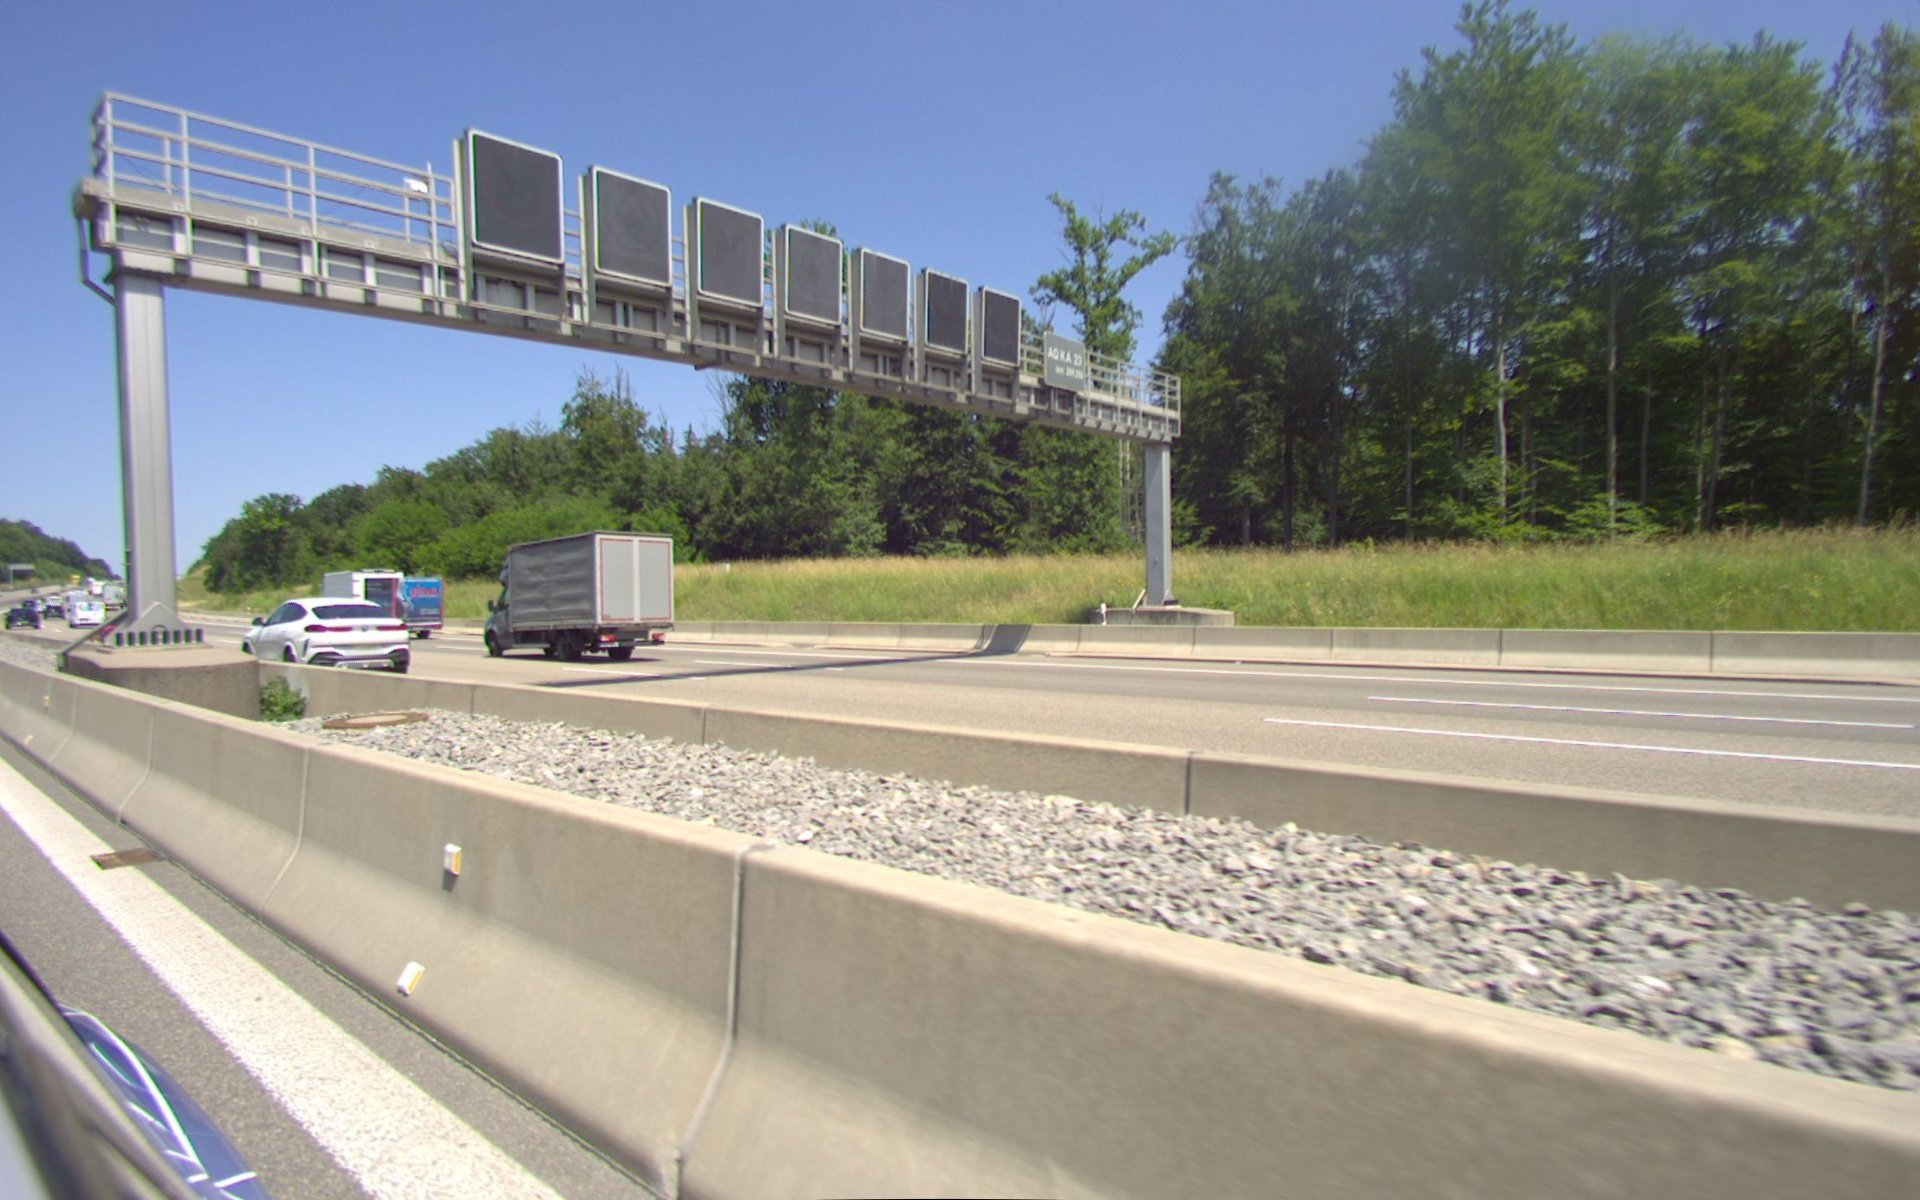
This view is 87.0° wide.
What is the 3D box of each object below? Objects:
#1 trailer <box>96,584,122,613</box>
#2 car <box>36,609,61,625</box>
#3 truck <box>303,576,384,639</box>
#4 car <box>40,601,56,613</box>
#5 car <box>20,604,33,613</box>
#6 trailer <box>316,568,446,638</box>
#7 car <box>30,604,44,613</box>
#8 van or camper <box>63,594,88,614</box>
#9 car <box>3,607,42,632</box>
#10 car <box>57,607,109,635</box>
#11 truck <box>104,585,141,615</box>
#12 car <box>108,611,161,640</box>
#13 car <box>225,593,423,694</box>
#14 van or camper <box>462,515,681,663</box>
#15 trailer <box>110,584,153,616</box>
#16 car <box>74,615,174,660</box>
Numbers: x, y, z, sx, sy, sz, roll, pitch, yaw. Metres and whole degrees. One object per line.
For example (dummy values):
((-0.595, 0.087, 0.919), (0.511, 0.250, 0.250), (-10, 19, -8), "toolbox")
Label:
((-134.846, -0.363, 160.395), (2.993, 4.393, 14.301), (-1, 1, -40), "trailer")
((-97.950, 1.791, 108.719), (4.612, 1.537, 1.657), (0, 1, 44), "car")
((-32.937, 0.368, 53.999), (4.400, 3.190, 2.462), (0, 1, 41), "truck")
((-157.190, 1.161, 174.392), (1.979, 2.029, 5.189), (0, 0, -43), "car")
((-156.589, 1.389, 169.754), (1.654, 1.508, 4.957), (-2, 1, -43), "car")
((-29.064, 0.067, 50.504), (10.477, 3.177, 2.449), (0, 1, 42), "trailer")
((-174.320, 1.674, 191.196), (1.850, 1.645, 5.168), (0, 0, -43), "car")
((-135.002, 0.592, 154.387), (2.528, 2.953, 7.356), (0, 0, -44), "van or camper")
((-68.594, 1.402, 73.999), (4.918, 1.674, 1.806), (1, 1, 44), "car")
((-67.110, 1.574, 77.401), (7.139, 2.071, 2.172), (0, 0, 42), "car")
((-102.371, -0.055, 123.678), (6.622, 3.570, 2.674), (0, 1, 43), "truck")
((-45.202, 1.369, 55.404), (4.351, 1.412, 1.682), (0, 1, 43), "car")
((-12.952, 0.791, 20.457), (5.343, 1.750, 1.967), (-1, 1, 42), "car")
((-11.192, -0.236, 28.687), (7.753, 3.706, 2.405), (-1, -1, 41), "van or camper")
((-97.848, -0.039, 119.426), (10.496, 3.561, 2.622), (0, 1, 43), "trailer")
((-29.963, 1.294, 36.209), (5.219, 1.453, 2.026), (-1, -1, 42), "car")
